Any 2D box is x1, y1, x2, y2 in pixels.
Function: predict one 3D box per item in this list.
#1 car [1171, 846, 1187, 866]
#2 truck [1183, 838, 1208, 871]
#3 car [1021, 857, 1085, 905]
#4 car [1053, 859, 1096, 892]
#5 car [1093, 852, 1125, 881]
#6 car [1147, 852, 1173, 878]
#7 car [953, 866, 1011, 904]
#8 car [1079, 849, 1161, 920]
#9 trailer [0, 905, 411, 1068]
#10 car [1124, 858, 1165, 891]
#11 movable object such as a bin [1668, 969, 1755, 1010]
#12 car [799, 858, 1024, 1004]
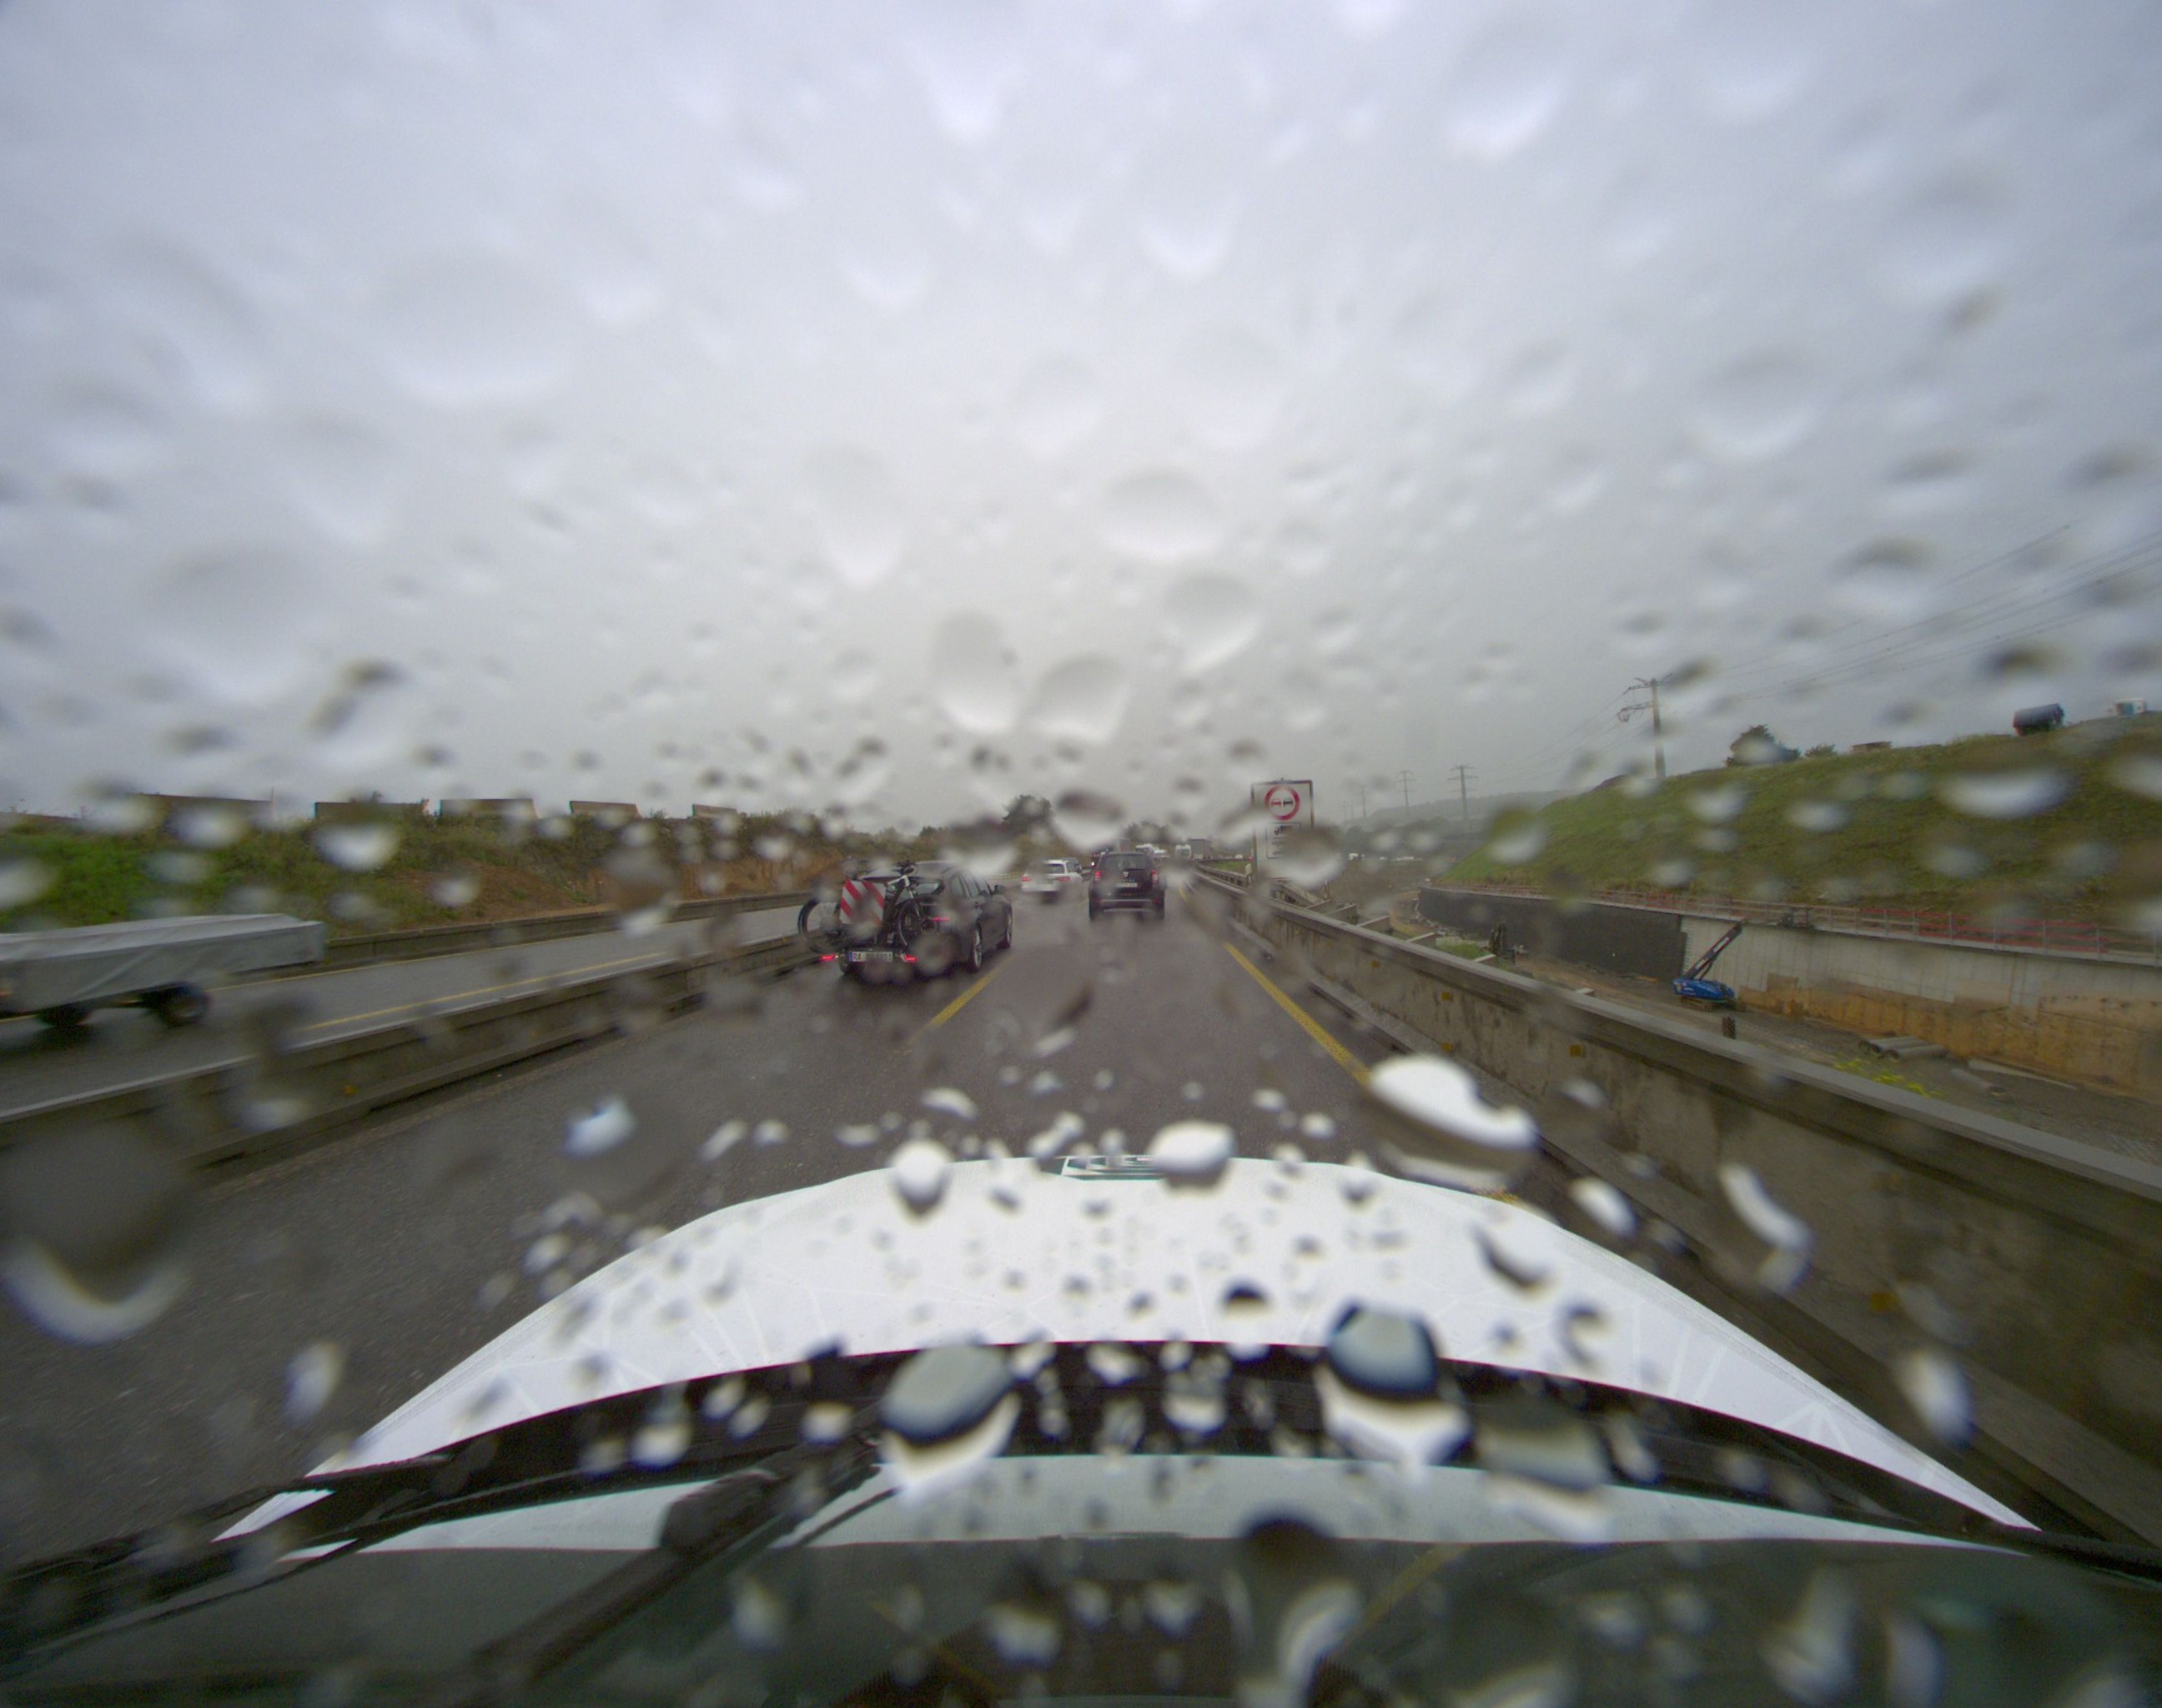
[{"bbox_3d":[12.336,0.305,102.308,1.815,2.437,4.168,-1,-1,9],"label":"car"},{"bbox_3d":[18.271,0.154,129.463,3.522,5.077,10.468,-1,-1,9],"label":"truck"},{"bbox_3d":[-0.893,0.891,28.144,1.819,1.499,4.003,-1,-1,3],"label":"car"},{"bbox_3d":[-0.249,1.026,39.733,1.819,1.499,4.003,-1,-1,3],"label":"car"},{"bbox_3d":[1.905,0.800,53.807,1.817,1.815,4.006,-1,-1,6],"label":"car"},{"bbox_3d":[5.800,0.838,59.785,1.818,1.815,4.005,-1,-1,5],"label":"car"},{"bbox_3d":[-4.007,1.238,33.599,1.573,1.383,4.005,-1,0,5],"label":"car"},{"bbox_3d":[1.000,0.715,20.433,1.818,1.591,4.003,-1,-1,3],"label":"car"},{"bbox_3d":[-9.400,1.194,7.925,1.573,1.088,4.719,-1,0,5],"label":"trailer"},{"bbox_3d":[3.009,0.964,39.110,1.819,1.499,4.003,-1,-1,3],"label":"car"},{"bbox_3d":[39.313,8.408,50.856,2.008,2.014,3.799,3,-4,-35],"label":"movable object such as a bin"},{"bbox_3d":[-2.105,0.883,11.978,1.727,1.462,5.636,-1,1,4],"label":"car"}]
